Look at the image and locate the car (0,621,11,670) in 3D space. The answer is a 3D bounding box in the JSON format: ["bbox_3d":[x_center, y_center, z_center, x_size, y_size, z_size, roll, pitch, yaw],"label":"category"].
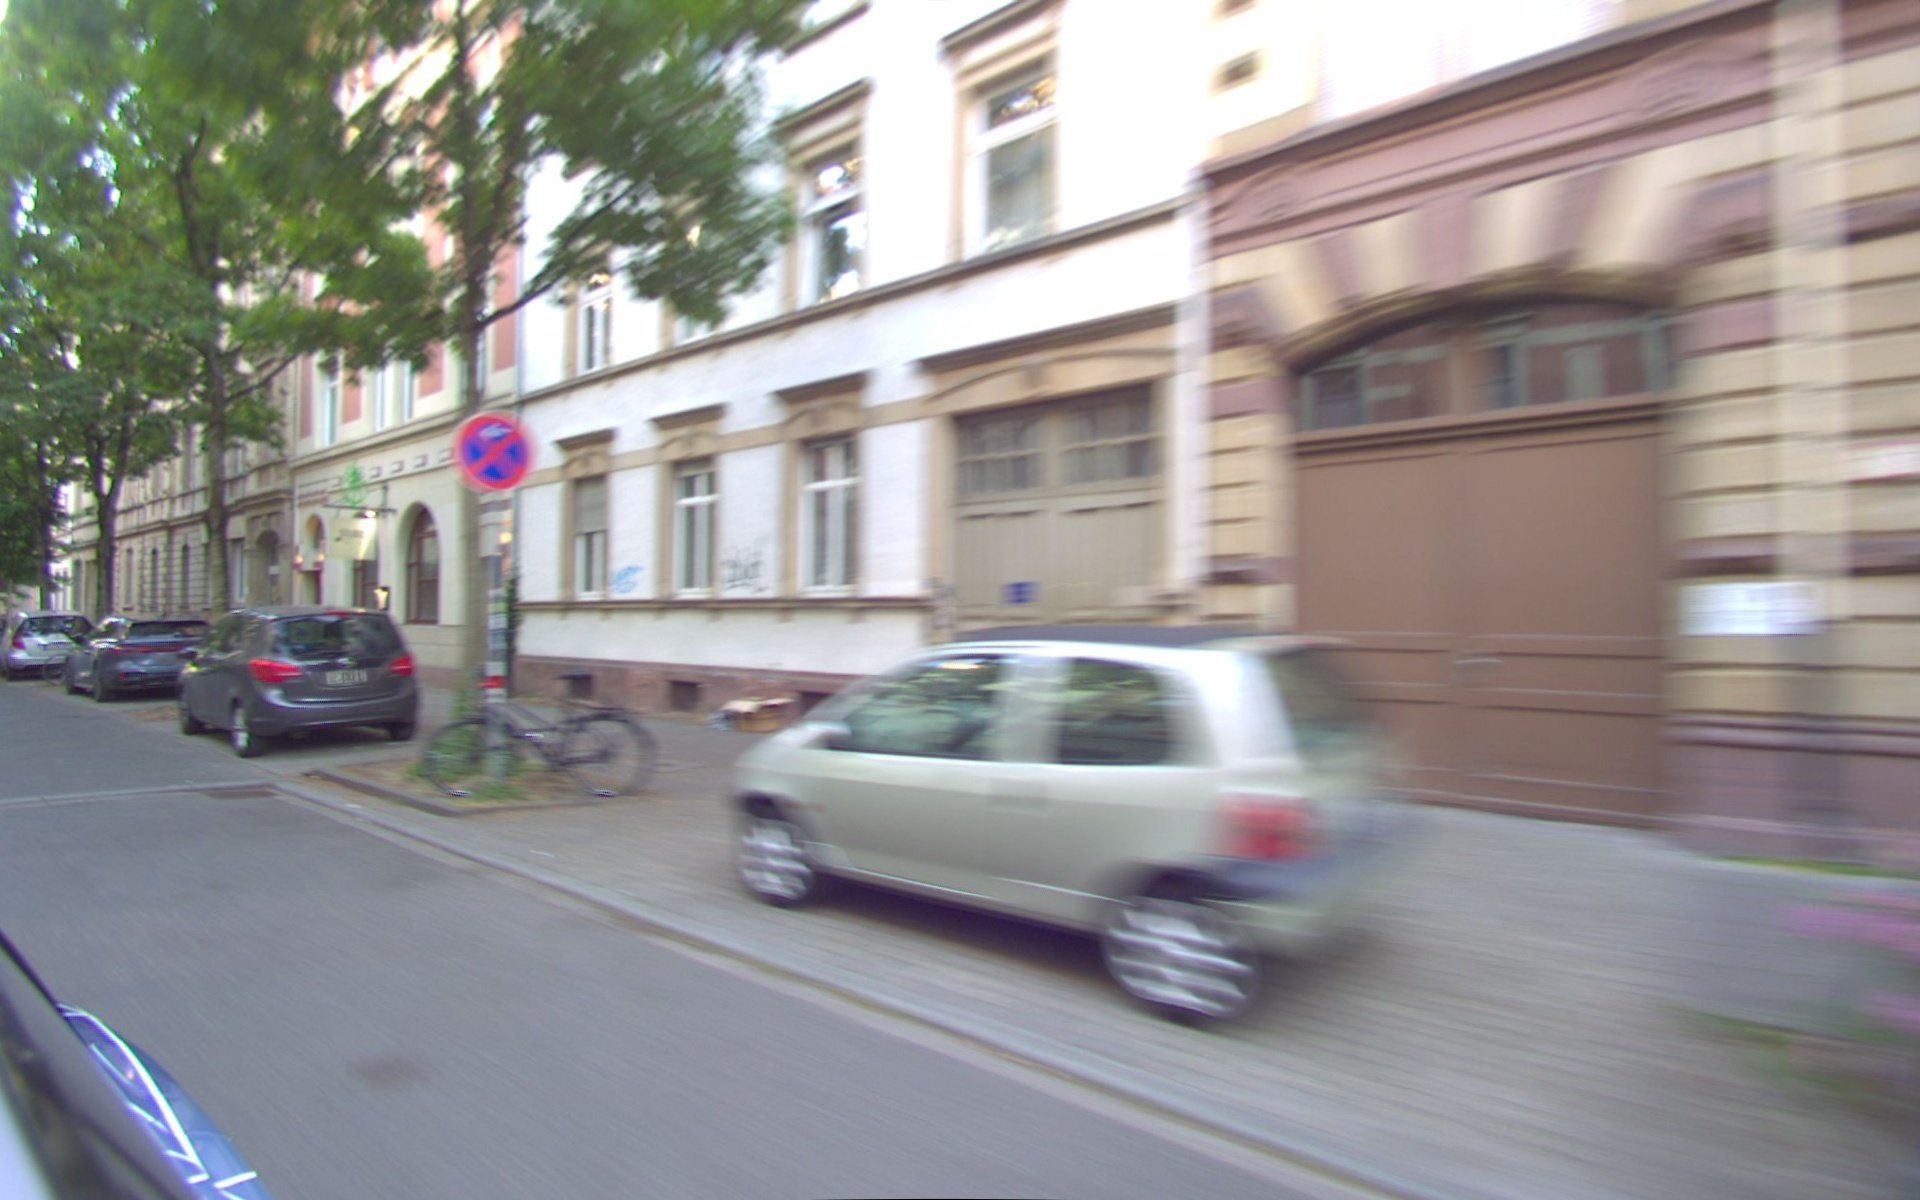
[{"bbox_3d":[-31.823,1.453,32.578,3.559,1.513,1.503,-1,-1,41],"label":"car"}]

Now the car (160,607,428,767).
[{"bbox_3d":[-8.026,0.915,12.052,4.076,1.593,1.688,-2,-2,42],"label":"car"}]

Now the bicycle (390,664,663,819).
[{"bbox_3d":[-3.273,1.060,7.780,1.799,1.093,0.669,1,-1,-6],"label":"bicycle"}]

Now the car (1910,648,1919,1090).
[{"bbox_3d":[2.967,0.763,0.339,3.751,1.431,1.564,-1,-3,41],"label":"car"}]

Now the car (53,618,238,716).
[{"bbox_3d":[-14.663,1.098,18.122,4.682,1.529,1.787,-1,-1,41],"label":"car"}]

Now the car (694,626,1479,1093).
[{"bbox_3d":[0.402,0.866,4.978,3.563,1.448,1.571,-1,-1,41],"label":"car"}]

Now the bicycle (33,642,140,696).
[{"bbox_3d":[-18.463,1.438,21.424,0.430,1.011,1.666,-1,0,42],"label":"bicycle"}]

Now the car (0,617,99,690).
[{"bbox_3d":[-22.097,1.226,24.343,3.861,1.620,1.658,-1,-2,43],"label":"car"}]
